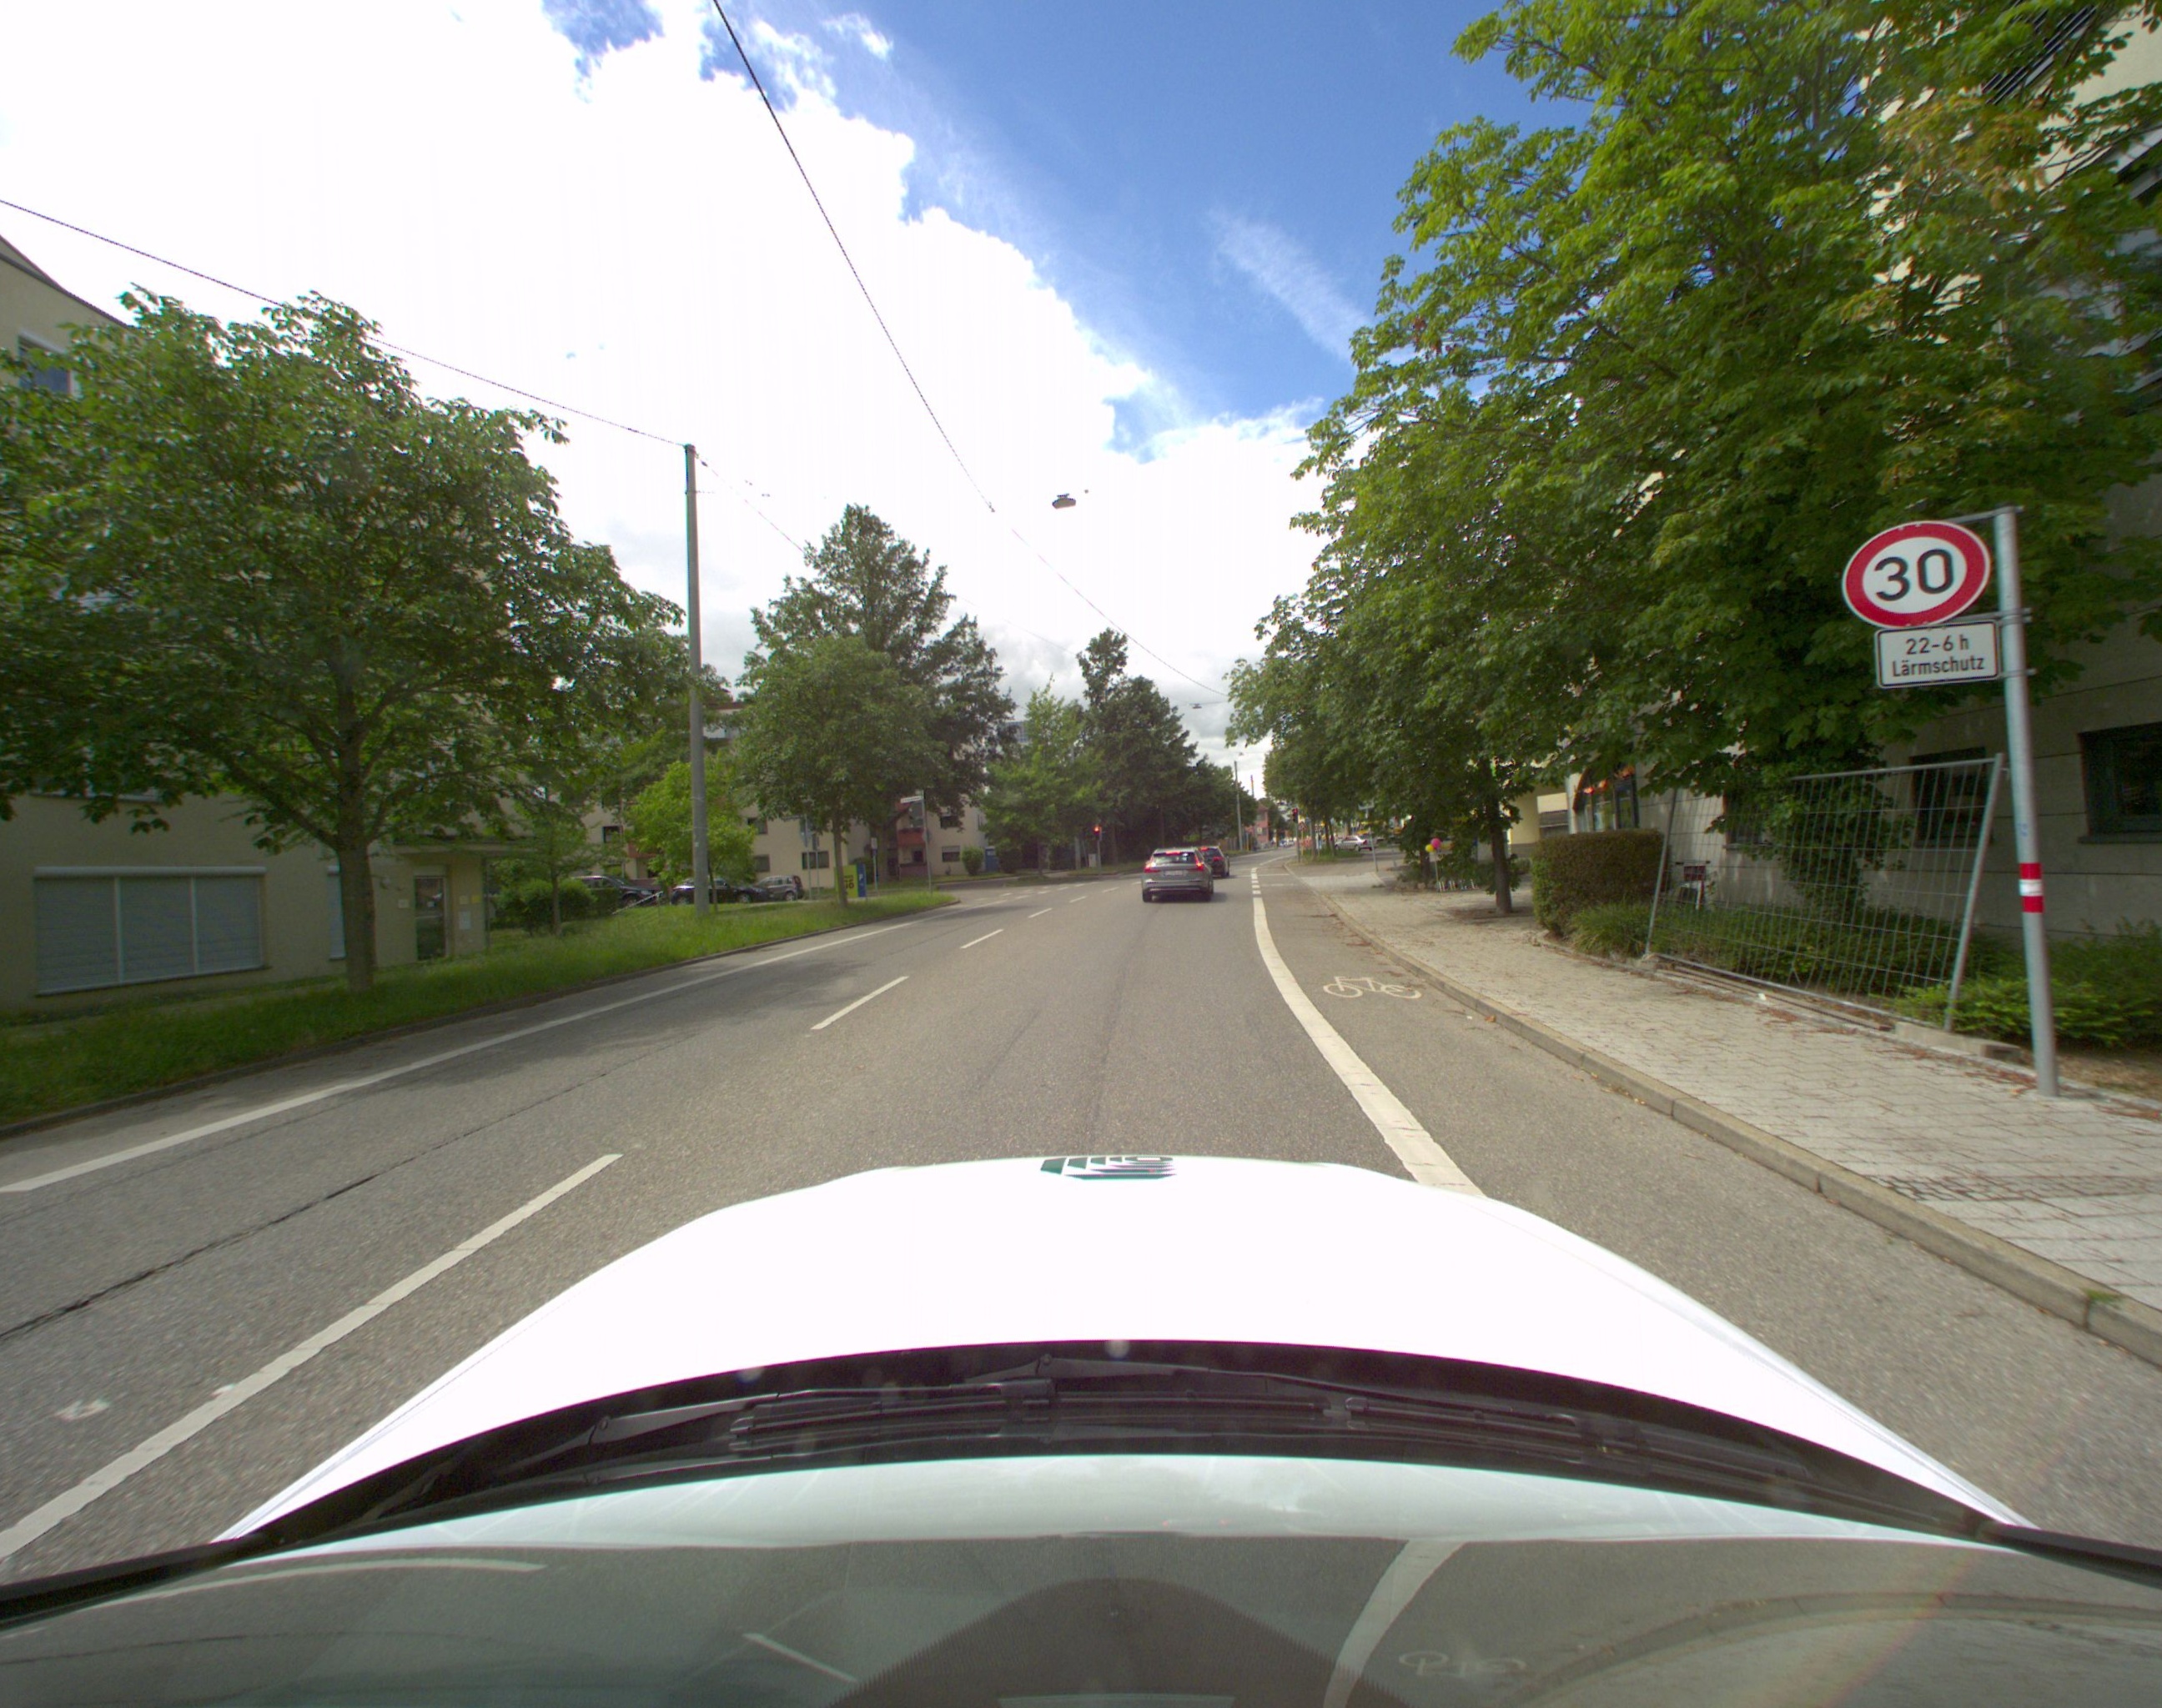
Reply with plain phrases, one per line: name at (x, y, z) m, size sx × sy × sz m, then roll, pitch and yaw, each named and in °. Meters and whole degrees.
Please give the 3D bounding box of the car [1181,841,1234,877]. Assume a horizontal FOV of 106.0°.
car at (5.766, 0.193, 36.658) m, size 1.790 × 1.523 × 4.348 m, roll 0°, pitch 1°, yaw 16°

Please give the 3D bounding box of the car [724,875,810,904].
car at (-17.441, 1.989, 45.344) m, size 4.066 × 1.400 × 1.793 m, roll -2°, pitch -4°, yaw -2°

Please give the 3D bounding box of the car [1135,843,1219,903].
car at (2.879, 0.480, 23.597) m, size 1.943 × 1.523 × 4.344 m, roll -2°, pitch 0°, yaw 12°

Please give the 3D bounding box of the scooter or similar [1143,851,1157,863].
scooter or similar at (6.313, 0.274, 74.461) m, size 0.958 × 0.962 × 0.684 m, roll -3°, pitch -1°, yaw -28°

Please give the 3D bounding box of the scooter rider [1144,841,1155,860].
scooter rider at (6.283, -0.301, 74.473) m, size 0.709 × 1.727 × 0.674 m, roll -2°, pitch -1°, yaw -27°

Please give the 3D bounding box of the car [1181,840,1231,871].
car at (6.953, 0.094, 44.820) m, size 1.789 × 1.616 × 4.352 m, roll 0°, pitch -1°, yaw 22°

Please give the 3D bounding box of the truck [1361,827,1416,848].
truck at (32.484, -1.766, 86.037) m, size 5.625 × 2.014 × 2.071 m, roll -2°, pitch -1°, yaw -25°

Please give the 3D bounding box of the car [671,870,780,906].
car at (-15.867, 1.551, 36.519) m, size 4.066 × 1.400 × 1.793 m, roll -2°, pitch -4°, yaw -2°

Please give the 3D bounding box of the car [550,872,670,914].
car at (-21.025, 1.732, 36.488) m, size 4.164 × 1.523 × 1.900 m, roll -4°, pitch 0°, yaw -2°

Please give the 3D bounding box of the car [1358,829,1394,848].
car at (33.030, -1.725, 91.179) m, size 3.778 × 2.014 × 1.726 m, roll -2°, pitch -1°, yaw -30°
